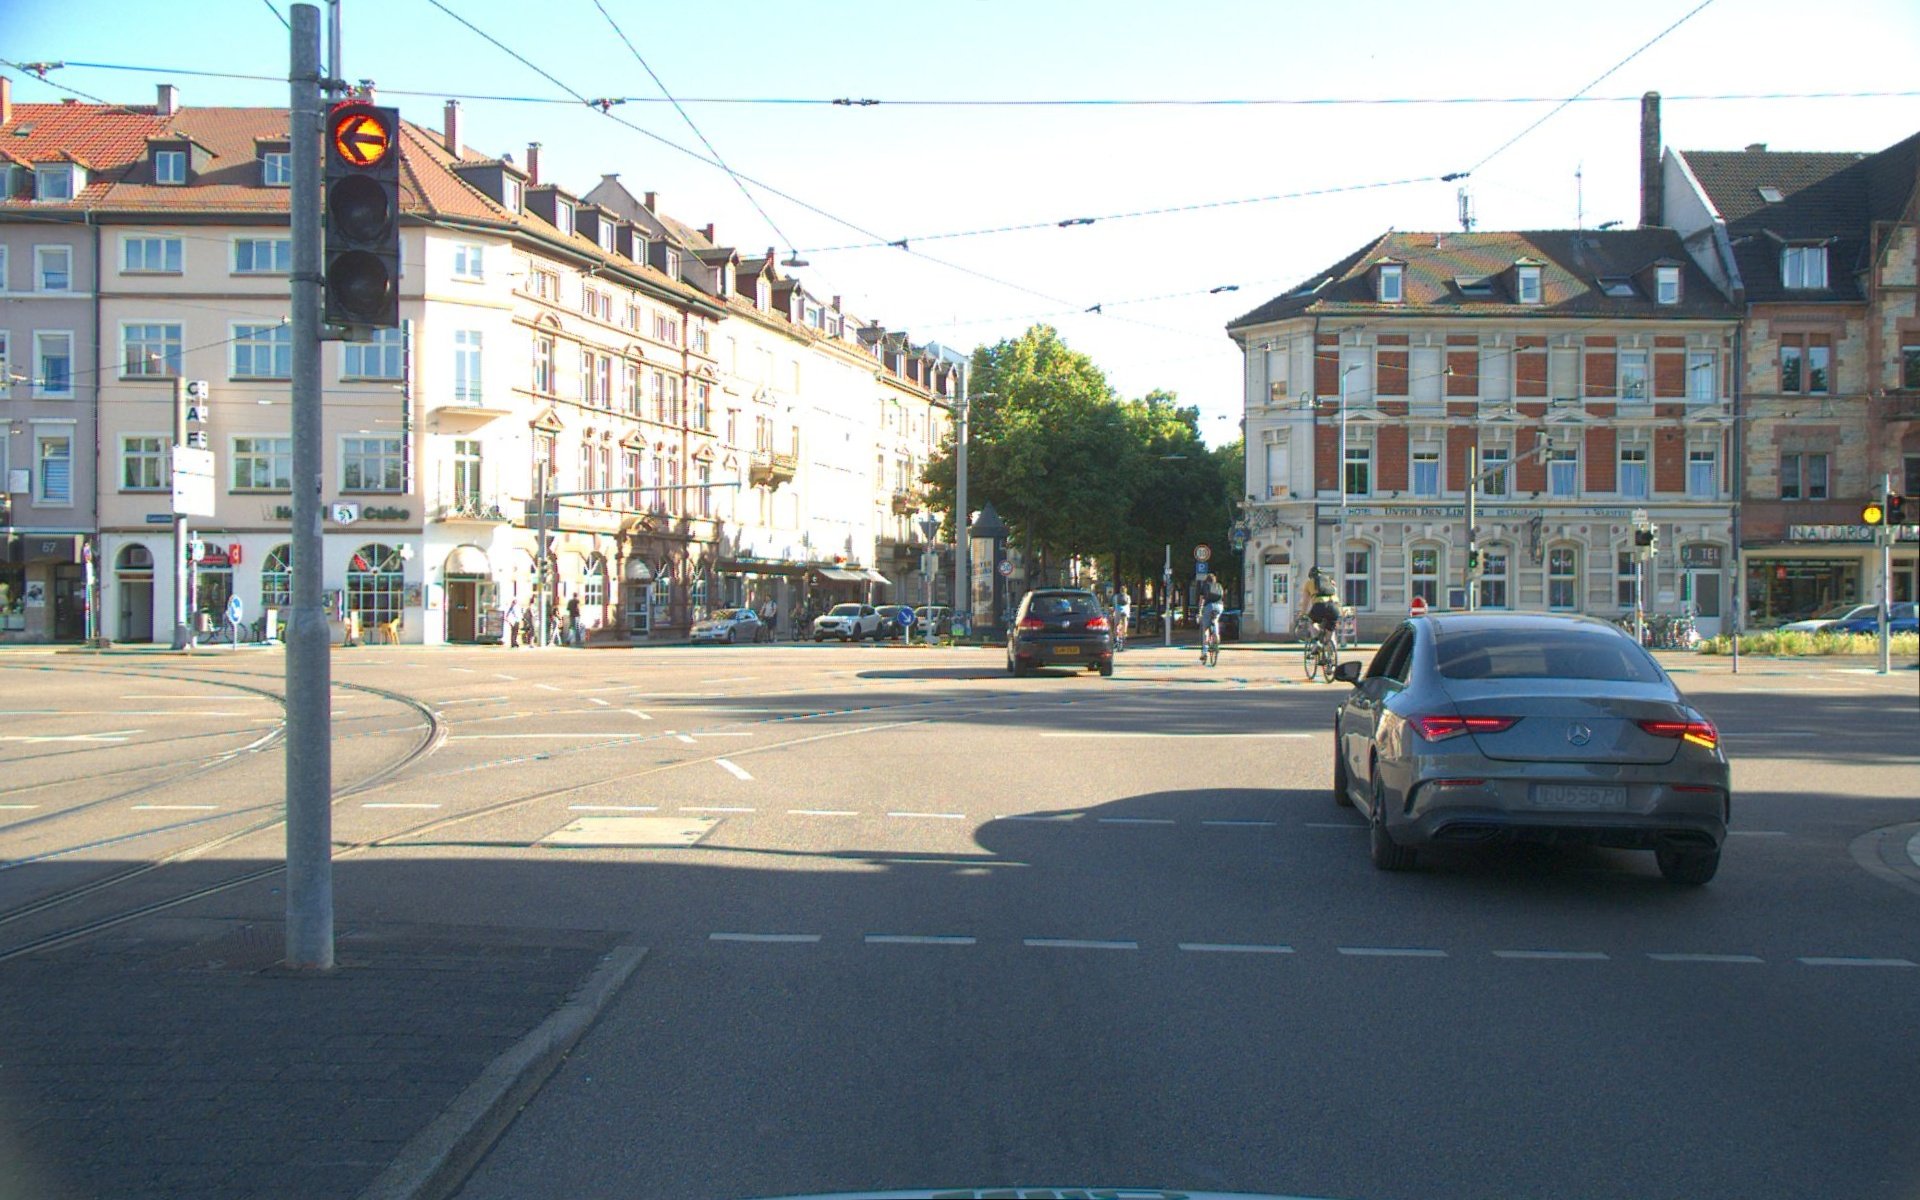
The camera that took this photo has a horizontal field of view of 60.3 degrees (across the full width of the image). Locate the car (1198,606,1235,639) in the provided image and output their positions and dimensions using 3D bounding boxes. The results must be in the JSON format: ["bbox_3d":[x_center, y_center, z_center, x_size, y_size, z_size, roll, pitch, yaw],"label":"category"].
[{"bbox_3d":[12.867,1.114,82.777,1.655,1.592,3.844,1,0,11],"label":"car"}]

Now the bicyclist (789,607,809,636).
[{"bbox_3d":[-6.831,0.925,70.162,0.618,1.205,0.685,1,-1,20],"label":"bicyclist"}]

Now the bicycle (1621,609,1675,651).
[{"bbox_3d":[22.083,0.954,53.153,0.615,1.309,2.661,1,0,0],"label":"bicycle"}]

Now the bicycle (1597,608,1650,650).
[{"bbox_3d":[21.305,0.913,53.150,0.615,1.309,2.661,1,0,0],"label":"bicycle"}]

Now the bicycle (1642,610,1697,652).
[{"bbox_3d":[22.797,0.971,53.177,0.615,1.309,2.661,1,0,0],"label":"bicycle"}]

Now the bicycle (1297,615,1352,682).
[{"bbox_3d":[6.024,0.779,27.286,0.739,1.049,1.781,1,0,17],"label":"bicycle"}]

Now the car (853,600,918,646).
[{"bbox_3d":[-3.263,1.010,73.445,1.951,1.937,4.003,1,0,11],"label":"car"}]

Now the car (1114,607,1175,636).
[{"bbox_3d":[12.848,1.459,115.154,3.902,1.937,2.001,1,0,15],"label":"car"}]

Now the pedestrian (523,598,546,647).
[{"bbox_3d":[-14.669,0.782,57.021,0.620,1.662,0.700,1,-1,-4],"label":"pedestrian"}]

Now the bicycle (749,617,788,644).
[{"bbox_3d":[-7.531,1.205,65.159,0.746,1.025,2.398,1,0,13],"label":"bicycle"}]

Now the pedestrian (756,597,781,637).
[{"bbox_3d":[-7.543,0.665,65.088,0.803,1.539,0.598,1,-1,14],"label":"pedestrian"}]

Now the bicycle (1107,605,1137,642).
[{"bbox_3d":[4.696,0.669,48.002,0.636,1.049,1.771,1,0,-1],"label":"bicycle"}]

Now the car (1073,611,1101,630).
[{"bbox_3d":[10.471,1.656,136.264,1.526,1.540,3.658,1,0,16],"label":"car"}]

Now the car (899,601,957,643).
[{"bbox_3d":[-1.516,1.066,79.764,1.951,1.937,4.003,1,0,11],"label":"car"}]

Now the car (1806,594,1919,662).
[{"bbox_3d":[25.930,0.788,46.052,3.706,1.809,1.999,1,0,-2],"label":"car"}]

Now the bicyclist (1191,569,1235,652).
[{"bbox_3d":[5.073,0.207,33.152,0.789,1.634,0.884,1,0,5],"label":"bicyclist"}]

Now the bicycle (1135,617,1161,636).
[{"bbox_3d":[11.279,1.567,99.225,0.619,1.104,1.685,1,0,-31],"label":"bicycle"}]

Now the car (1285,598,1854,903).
[{"bbox_3d":[3.384,0.736,10.230,1.868,1.444,4.492,1,0,0],"label":"car"}]

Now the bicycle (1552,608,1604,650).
[{"bbox_3d":[19.832,0.907,53.134,0.678,1.309,2.661,1,0,0],"label":"bicycle"}]

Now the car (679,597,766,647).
[{"bbox_3d":[-9.559,0.875,66.960,1.951,1.937,4.002,1,0,17],"label":"car"}]

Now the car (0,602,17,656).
[{"bbox_3d":[-32.388,0.914,52.430,3.902,1.699,2.002,0,0,8],"label":"car"}]

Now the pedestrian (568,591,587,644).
[{"bbox_3d":[-14.052,0.640,60.754,0.454,1.914,0.635,1,-1,10],"label":"pedestrian"}]

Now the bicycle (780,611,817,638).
[{"bbox_3d":[-6.837,1.027,70.195,0.637,1.142,2.253,1,0,20],"label":"bicycle"}]

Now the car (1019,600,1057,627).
[{"bbox_3d":[5.818,1.017,122.717,1.951,1.937,4.002,1,0,16],"label":"car"}]

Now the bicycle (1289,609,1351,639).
[{"bbox_3d":[12.477,0.840,57.308,2.006,1.015,0.631,0,-1,2],"label":"bicycle"}]

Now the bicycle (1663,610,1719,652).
[{"bbox_3d":[23.481,0.988,53.176,0.615,1.309,2.661,1,0,0],"label":"bicycle"}]

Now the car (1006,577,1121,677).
[{"bbox_3d":[1.759,0.417,29.137,1.693,1.534,4.050,1,2,-1],"label":"car"}]

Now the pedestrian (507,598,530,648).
[{"bbox_3d":[-14.862,0.779,55.672,0.620,1.662,0.700,1,-1,-4],"label":"pedestrian"}]

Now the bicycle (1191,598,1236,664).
[{"bbox_3d":[5.049,0.607,33.018,0.739,1.258,1.704,1,0,5],"label":"bicycle"}]

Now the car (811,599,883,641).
[{"bbox_3d":[-4.552,0.795,67.339,1.951,1.646,4.003,1,0,11],"label":"car"}]

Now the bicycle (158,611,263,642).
[{"bbox_3d":[-25.517,0.891,56.352,3.066,0.997,1.001,1,0,-1],"label":"bicycle"}]

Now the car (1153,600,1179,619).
[{"bbox_3d":[16.820,0.774,134.961,1.526,1.540,3.658,1,0,16],"label":"car"}]

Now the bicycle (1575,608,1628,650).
[{"bbox_3d":[20.594,0.922,53.129,0.678,1.309,2.661,1,0,0],"label":"bicycle"}]

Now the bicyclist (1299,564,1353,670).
[{"bbox_3d":[5.987,0.281,27.030,0.789,1.692,0.884,1,-1,16],"label":"bicyclist"}]

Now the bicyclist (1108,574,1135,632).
[{"bbox_3d":[4.680,0.091,47.975,0.675,1.662,0.883,1,0,-1],"label":"bicyclist"}]
